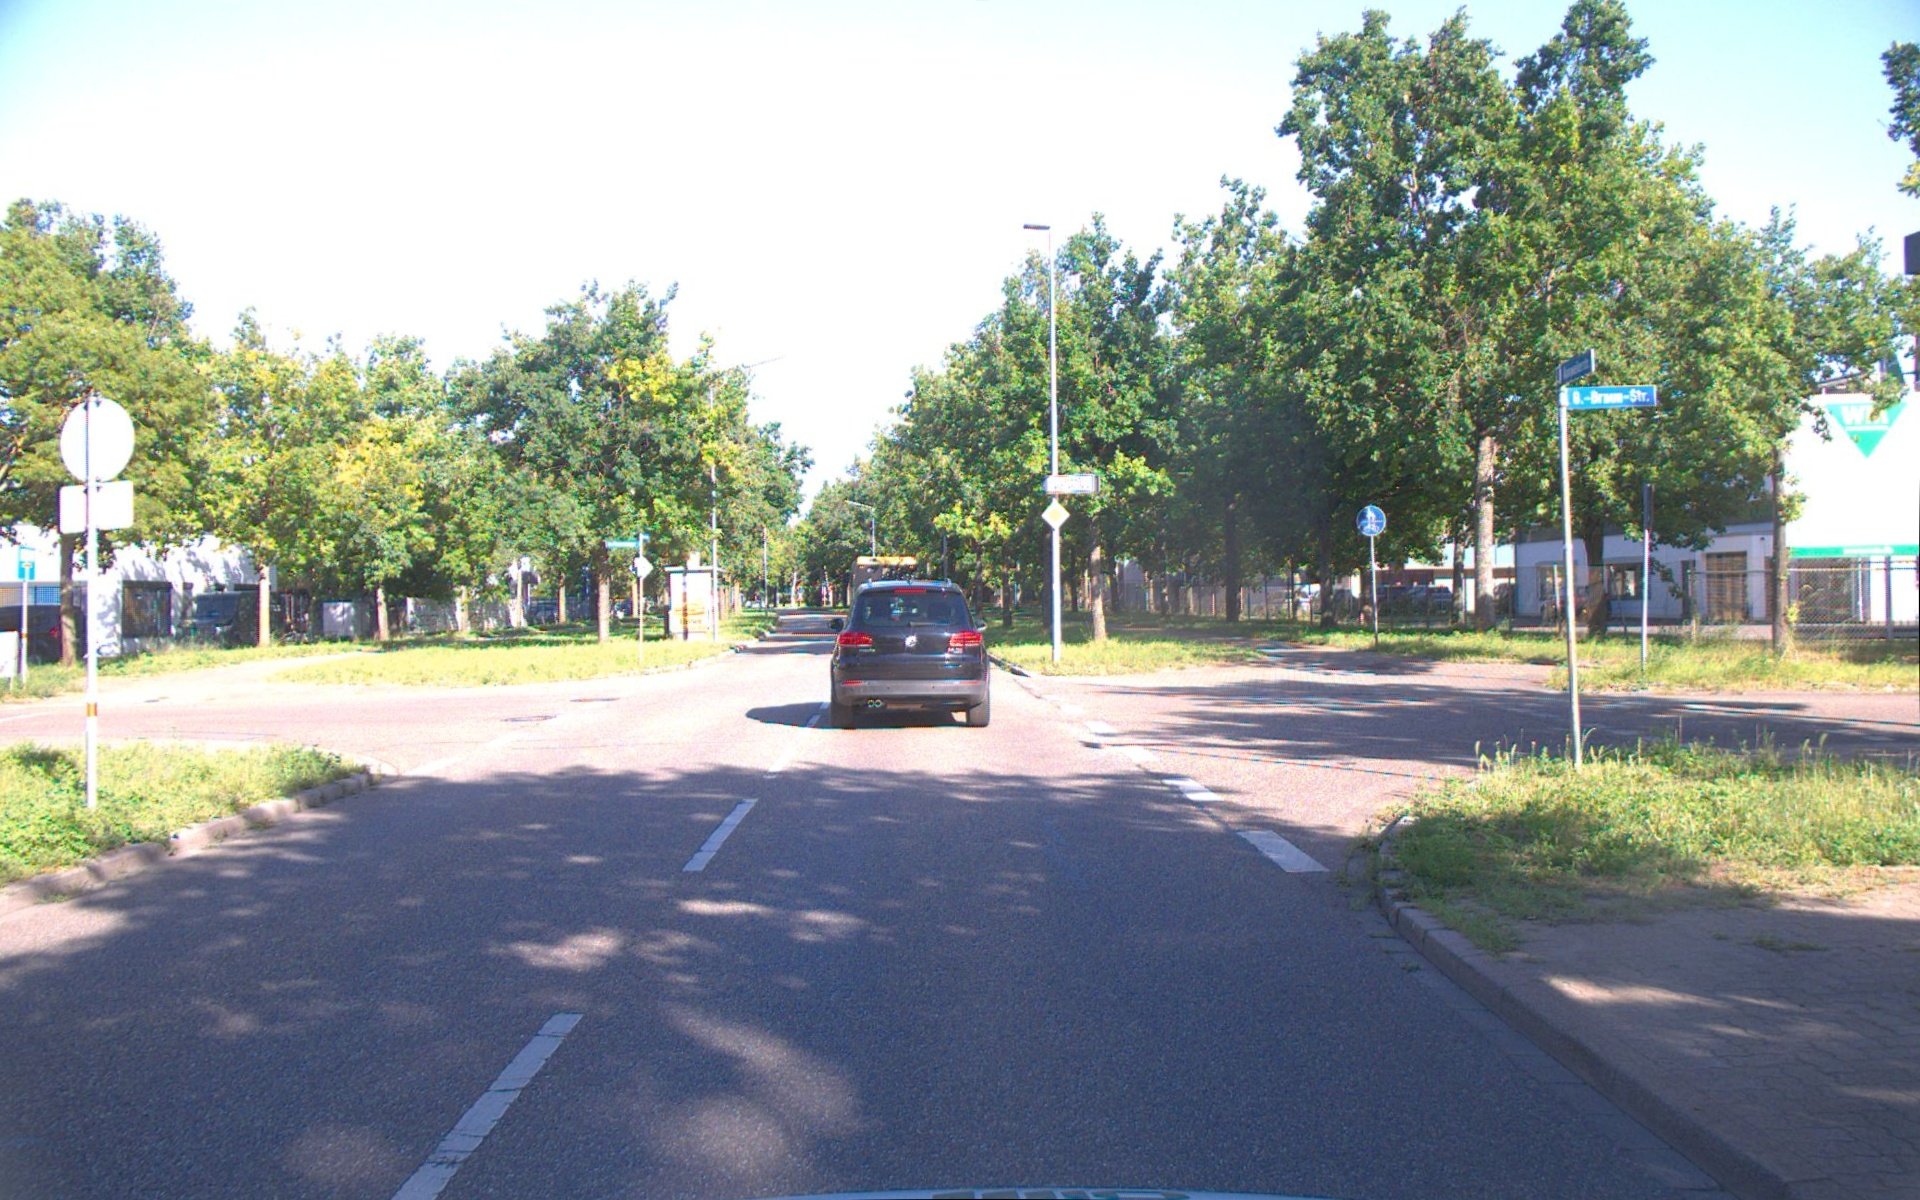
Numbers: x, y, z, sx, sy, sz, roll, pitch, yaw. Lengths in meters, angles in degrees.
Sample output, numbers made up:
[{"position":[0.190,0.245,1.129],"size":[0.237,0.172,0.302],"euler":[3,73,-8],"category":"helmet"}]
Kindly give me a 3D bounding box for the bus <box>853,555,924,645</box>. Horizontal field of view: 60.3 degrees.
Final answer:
[{"position":[-3.175,-0.033,70.835],"size":[2.710,3.517,11.202],"euler":[-1,0,-4],"category":"bus"}]

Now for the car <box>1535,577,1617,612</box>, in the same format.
[{"position":[25.876,-0.226,69.554],"size":[1.731,1.408,3.763],"euler":[-1,0,-6],"category":"car"}]

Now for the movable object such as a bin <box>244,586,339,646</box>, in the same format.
[{"position":[-26.497,0.599,65.701],"size":[2.060,2.255,4.458],"euler":[-1,0,-2],"category":"movable object such as a bin"}]

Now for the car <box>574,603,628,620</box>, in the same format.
[{"position":[-30.333,0.950,139.799],"size":[4.113,1.344,1.941],"euler":[-1,0,-1],"category":"car"}]

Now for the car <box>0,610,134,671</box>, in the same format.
[{"position":[-25.014,1.098,44.674],"size":[4.406,1.505,1.942],"euler":[-2,0,3],"category":"car"}]

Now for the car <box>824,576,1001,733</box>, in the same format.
[{"position":[-0.538,0.570,20.050],"size":[1.896,1.685,4.426],"euler":[0,0,-1],"category":"car"}]

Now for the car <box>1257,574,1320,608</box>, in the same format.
[{"position":[17.966,-0.504,90.668],"size":[2.142,1.774,4.636],"euler":[-1,0,-6],"category":"car"}]

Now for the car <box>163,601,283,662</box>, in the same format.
[{"position":[-26.381,1.088,59.428],"size":[1.995,2.023,5.802],"euler":[-1,0,-4],"category":"car"}]

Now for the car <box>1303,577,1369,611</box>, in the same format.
[{"position":[20.614,-0.355,90.865],"size":[2.142,1.774,4.636],"euler":[-1,0,-6],"category":"car"}]

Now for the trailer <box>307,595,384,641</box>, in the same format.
[{"position":[-27.022,0.769,72.814],"size":[2.060,1.948,3.739],"euler":[-1,0,-2],"category":"trailer"}]

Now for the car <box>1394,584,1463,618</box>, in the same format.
[{"position":[25.780,0.016,91.178],"size":[2.142,1.774,4.636],"euler":[-1,0,-6],"category":"car"}]
